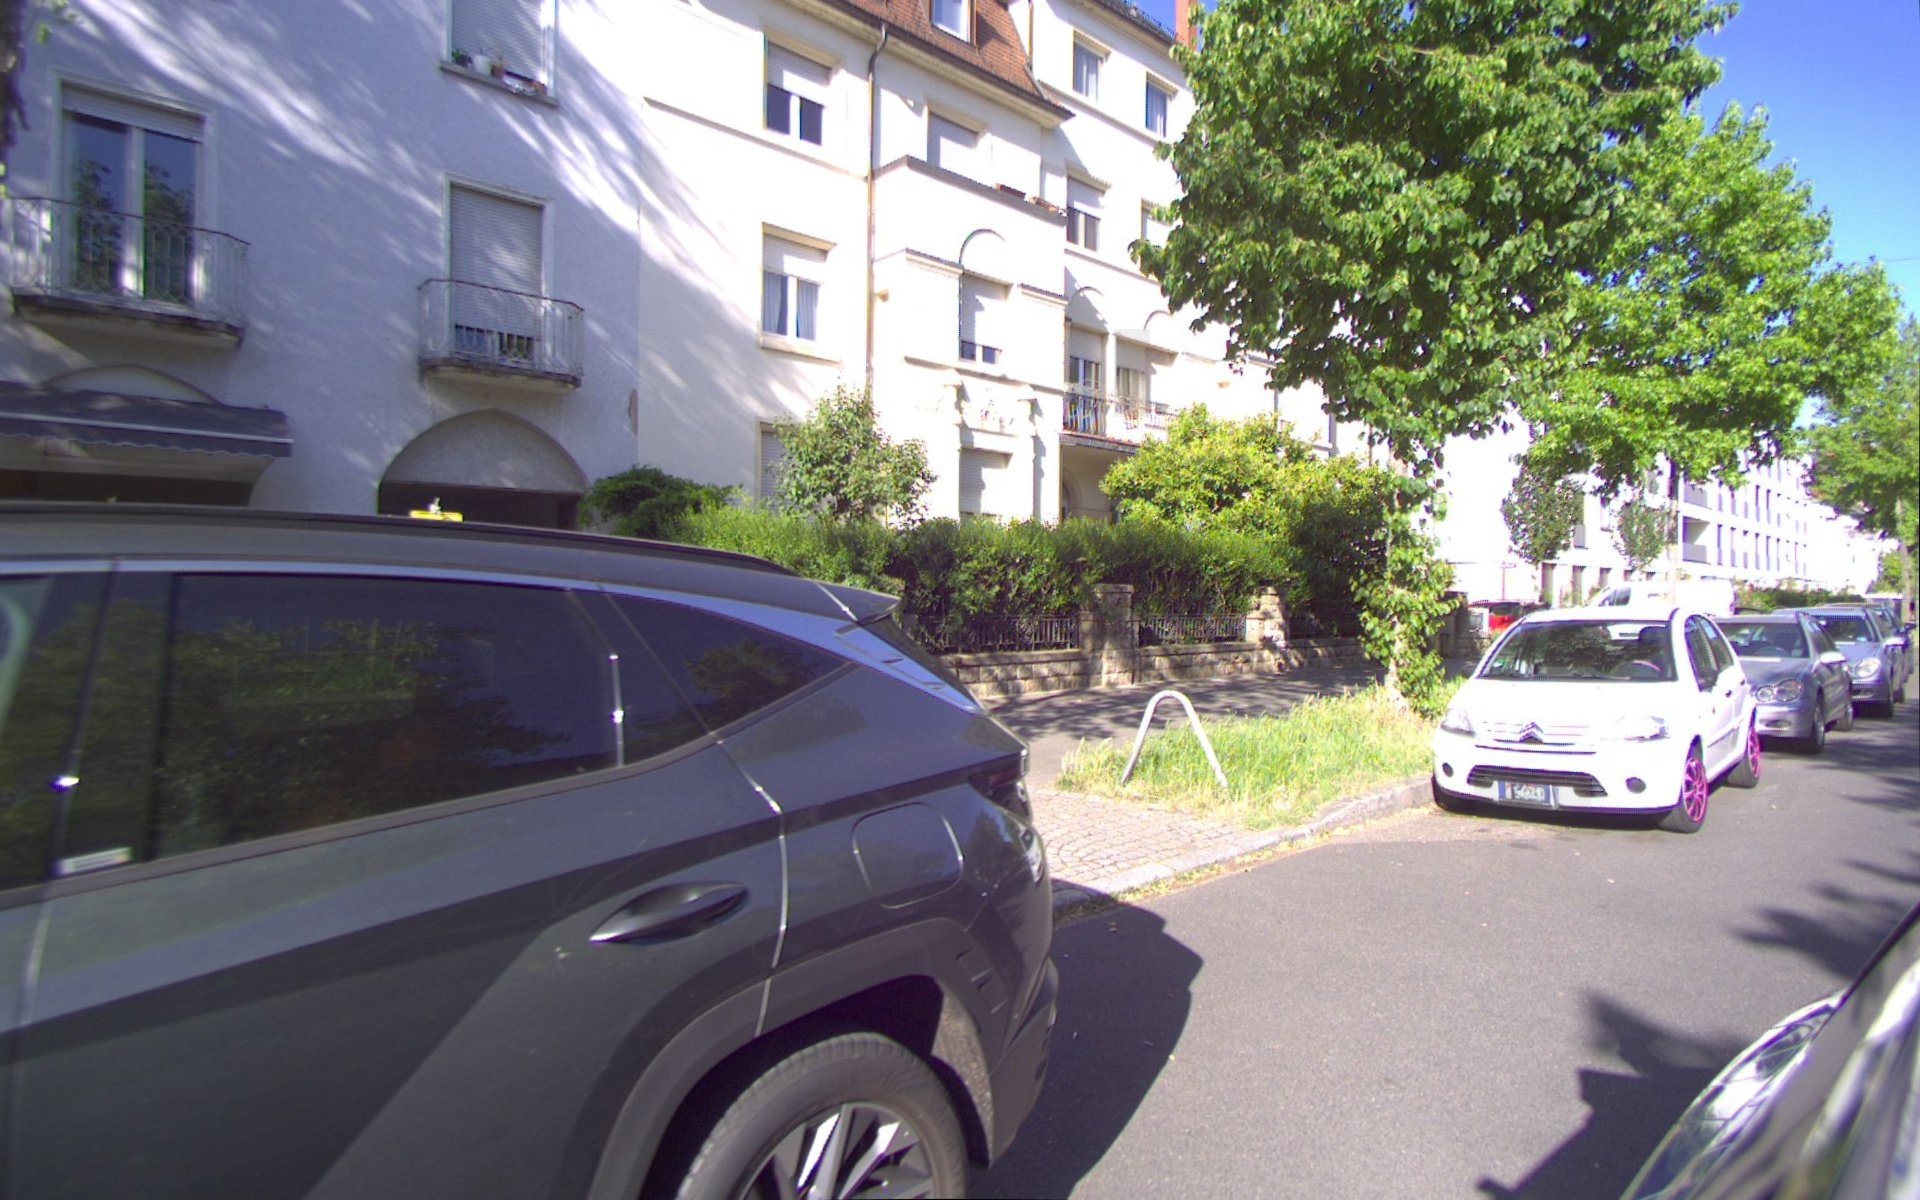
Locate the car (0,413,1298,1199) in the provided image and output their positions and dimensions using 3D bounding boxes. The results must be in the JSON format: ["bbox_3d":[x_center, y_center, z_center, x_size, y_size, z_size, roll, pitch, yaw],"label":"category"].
[{"bbox_3d":[-1.642,0.656,1.765,5.005,1.673,1.929,0,-1,-41],"label":"car"}]

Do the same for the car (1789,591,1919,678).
[{"bbox_3d":[18.517,0.601,20.634,4.884,1.543,1.897,-1,1,-43],"label":"car"}]

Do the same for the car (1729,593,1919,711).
[{"bbox_3d":[13.142,0.665,15.158,4.827,1.488,1.823,0,-1,-43],"label":"car"}]

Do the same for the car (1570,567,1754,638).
[{"bbox_3d":[24.698,0.042,35.879,5.004,2.335,2.215,1,1,26],"label":"car"}]

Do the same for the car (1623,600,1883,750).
[{"bbox_3d":[9.464,0.723,11.916,4.780,1.428,1.712,0,-1,-43],"label":"car"}]

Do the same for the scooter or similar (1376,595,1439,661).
[{"bbox_3d":[8.387,0.527,18.966,1.181,1.200,0.403,1,0,-27],"label":"scooter or similar"}]

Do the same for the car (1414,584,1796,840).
[{"bbox_3d":[5.310,0.698,8.117,3.903,1.552,1.655,0,-2,-43],"label":"car"}]

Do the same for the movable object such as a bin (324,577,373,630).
[{"bbox_3d":[-17.188,0.082,28.437,1.060,1.466,0.816,0,0,-41],"label":"movable object such as a bin"}]

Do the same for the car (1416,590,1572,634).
[{"bbox_3d":[20.423,0.420,38.880,2.013,1.488,4.933,1,1,-43],"label":"car"}]

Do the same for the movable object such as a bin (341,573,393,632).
[{"bbox_3d":[-15.926,0.047,27.175,1.044,1.549,0.940,0,0,-41],"label":"movable object such as a bin"}]

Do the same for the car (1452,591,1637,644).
[{"bbox_3d":[18.161,0.469,31.688,1.913,1.488,4.741,0,1,-27],"label":"car"}]
